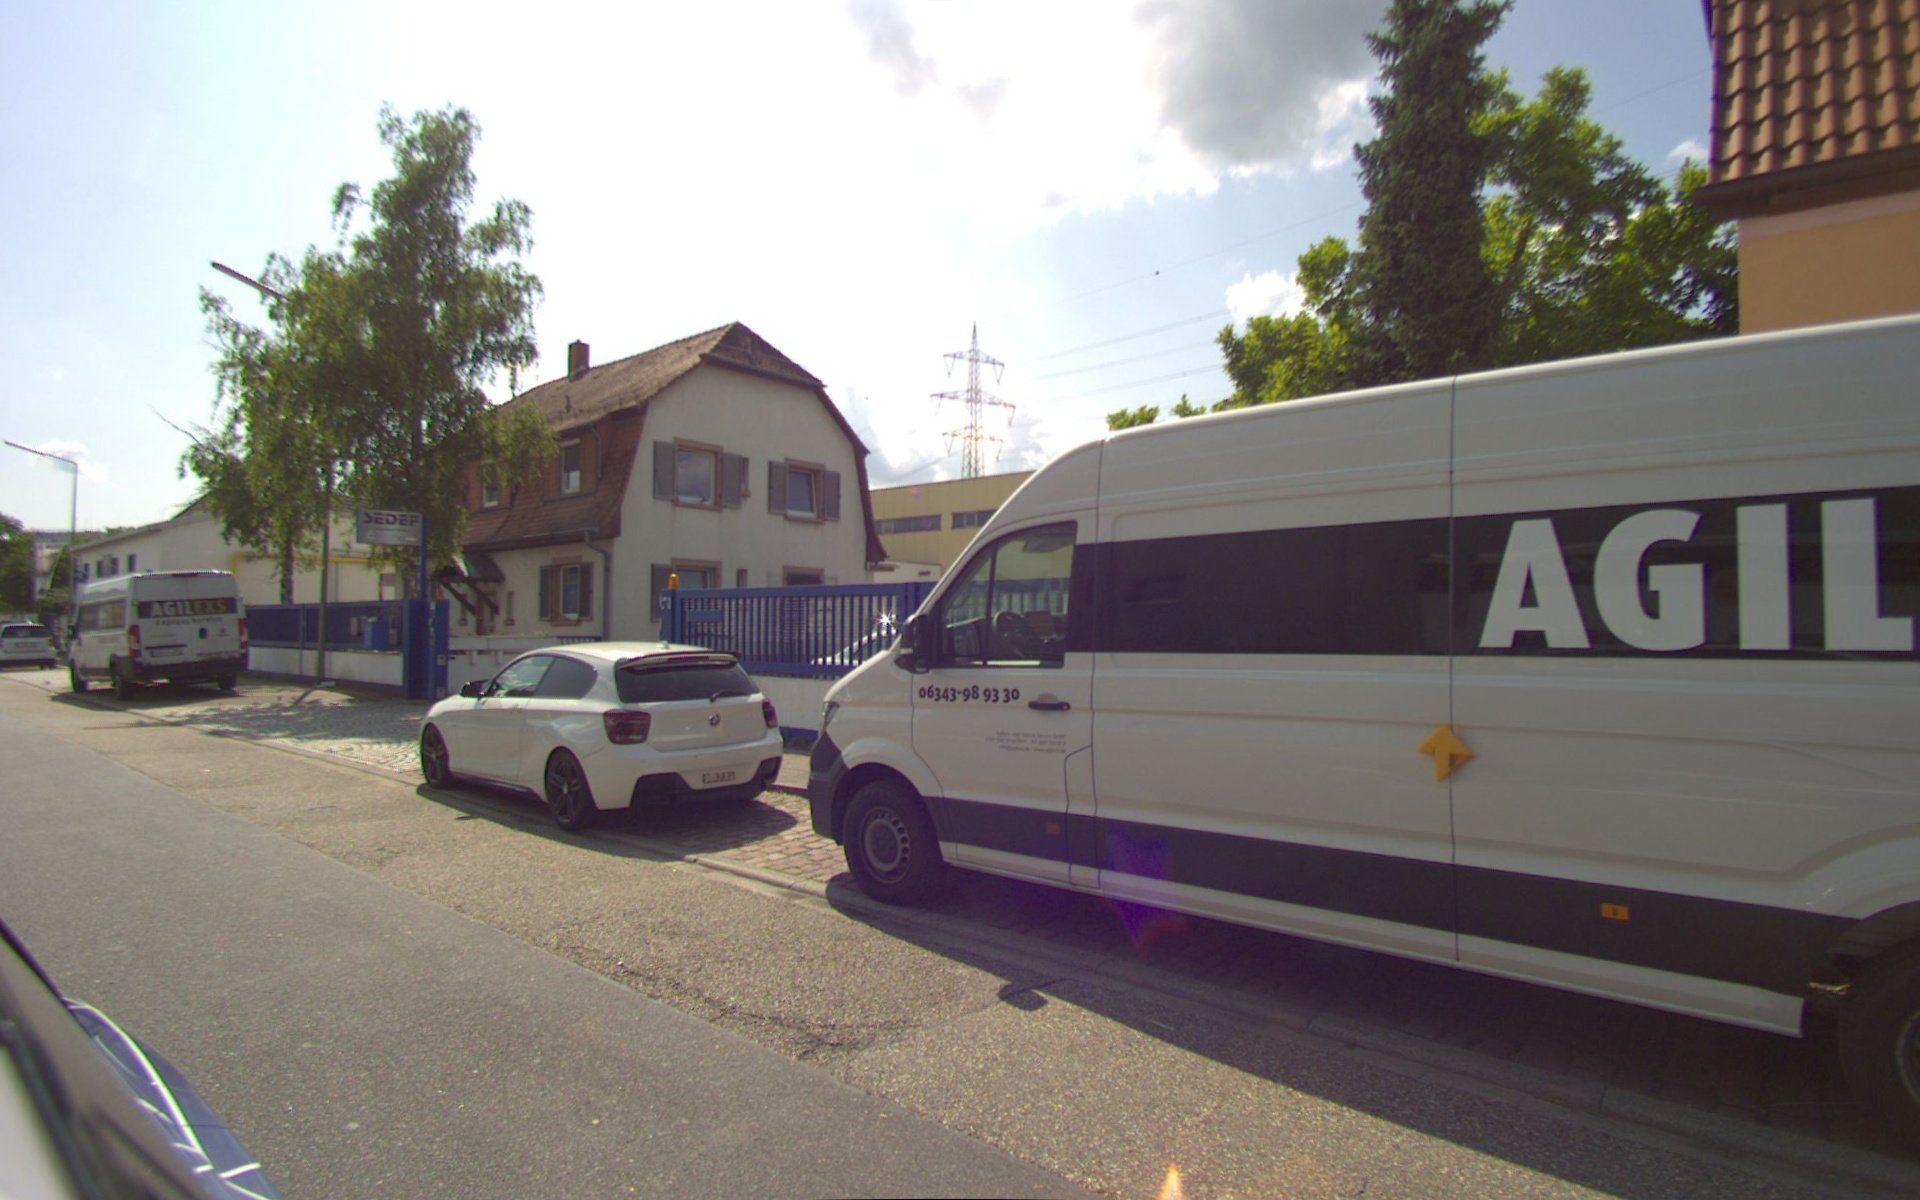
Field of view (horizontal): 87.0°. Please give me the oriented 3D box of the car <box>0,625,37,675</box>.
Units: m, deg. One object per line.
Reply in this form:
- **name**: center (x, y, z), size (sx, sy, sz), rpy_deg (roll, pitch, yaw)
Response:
- **car**: center (-35.353, 1.810, 37.043), size (4.748, 1.732, 1.772), rpy_deg (-1, -1, 41)

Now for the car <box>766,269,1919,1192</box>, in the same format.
- **car**: center (2.078, 0.390, 4.662), size (6.834, 2.581, 2.006), rpy_deg (-1, -1, 40)

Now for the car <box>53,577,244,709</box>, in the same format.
- **car**: center (-18.213, 0.875, 22.558), size (6.650, 2.577, 2.010), rpy_deg (-1, -1, 39)

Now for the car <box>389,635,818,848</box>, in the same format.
- **car**: center (-3.431, 1.059, 9.241), size (4.501, 1.408, 1.777), rpy_deg (-1, -1, 42)

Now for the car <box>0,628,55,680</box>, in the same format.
- **car**: center (-31.628, 1.787, 33.930), size (3.009, 1.586, 1.592), rpy_deg (-2, 0, 43)

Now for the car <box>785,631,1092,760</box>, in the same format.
- **car**: center (-0.407, 1.215, 14.067), size (4.142, 1.474, 1.845), rpy_deg (-1, -3, 43)
